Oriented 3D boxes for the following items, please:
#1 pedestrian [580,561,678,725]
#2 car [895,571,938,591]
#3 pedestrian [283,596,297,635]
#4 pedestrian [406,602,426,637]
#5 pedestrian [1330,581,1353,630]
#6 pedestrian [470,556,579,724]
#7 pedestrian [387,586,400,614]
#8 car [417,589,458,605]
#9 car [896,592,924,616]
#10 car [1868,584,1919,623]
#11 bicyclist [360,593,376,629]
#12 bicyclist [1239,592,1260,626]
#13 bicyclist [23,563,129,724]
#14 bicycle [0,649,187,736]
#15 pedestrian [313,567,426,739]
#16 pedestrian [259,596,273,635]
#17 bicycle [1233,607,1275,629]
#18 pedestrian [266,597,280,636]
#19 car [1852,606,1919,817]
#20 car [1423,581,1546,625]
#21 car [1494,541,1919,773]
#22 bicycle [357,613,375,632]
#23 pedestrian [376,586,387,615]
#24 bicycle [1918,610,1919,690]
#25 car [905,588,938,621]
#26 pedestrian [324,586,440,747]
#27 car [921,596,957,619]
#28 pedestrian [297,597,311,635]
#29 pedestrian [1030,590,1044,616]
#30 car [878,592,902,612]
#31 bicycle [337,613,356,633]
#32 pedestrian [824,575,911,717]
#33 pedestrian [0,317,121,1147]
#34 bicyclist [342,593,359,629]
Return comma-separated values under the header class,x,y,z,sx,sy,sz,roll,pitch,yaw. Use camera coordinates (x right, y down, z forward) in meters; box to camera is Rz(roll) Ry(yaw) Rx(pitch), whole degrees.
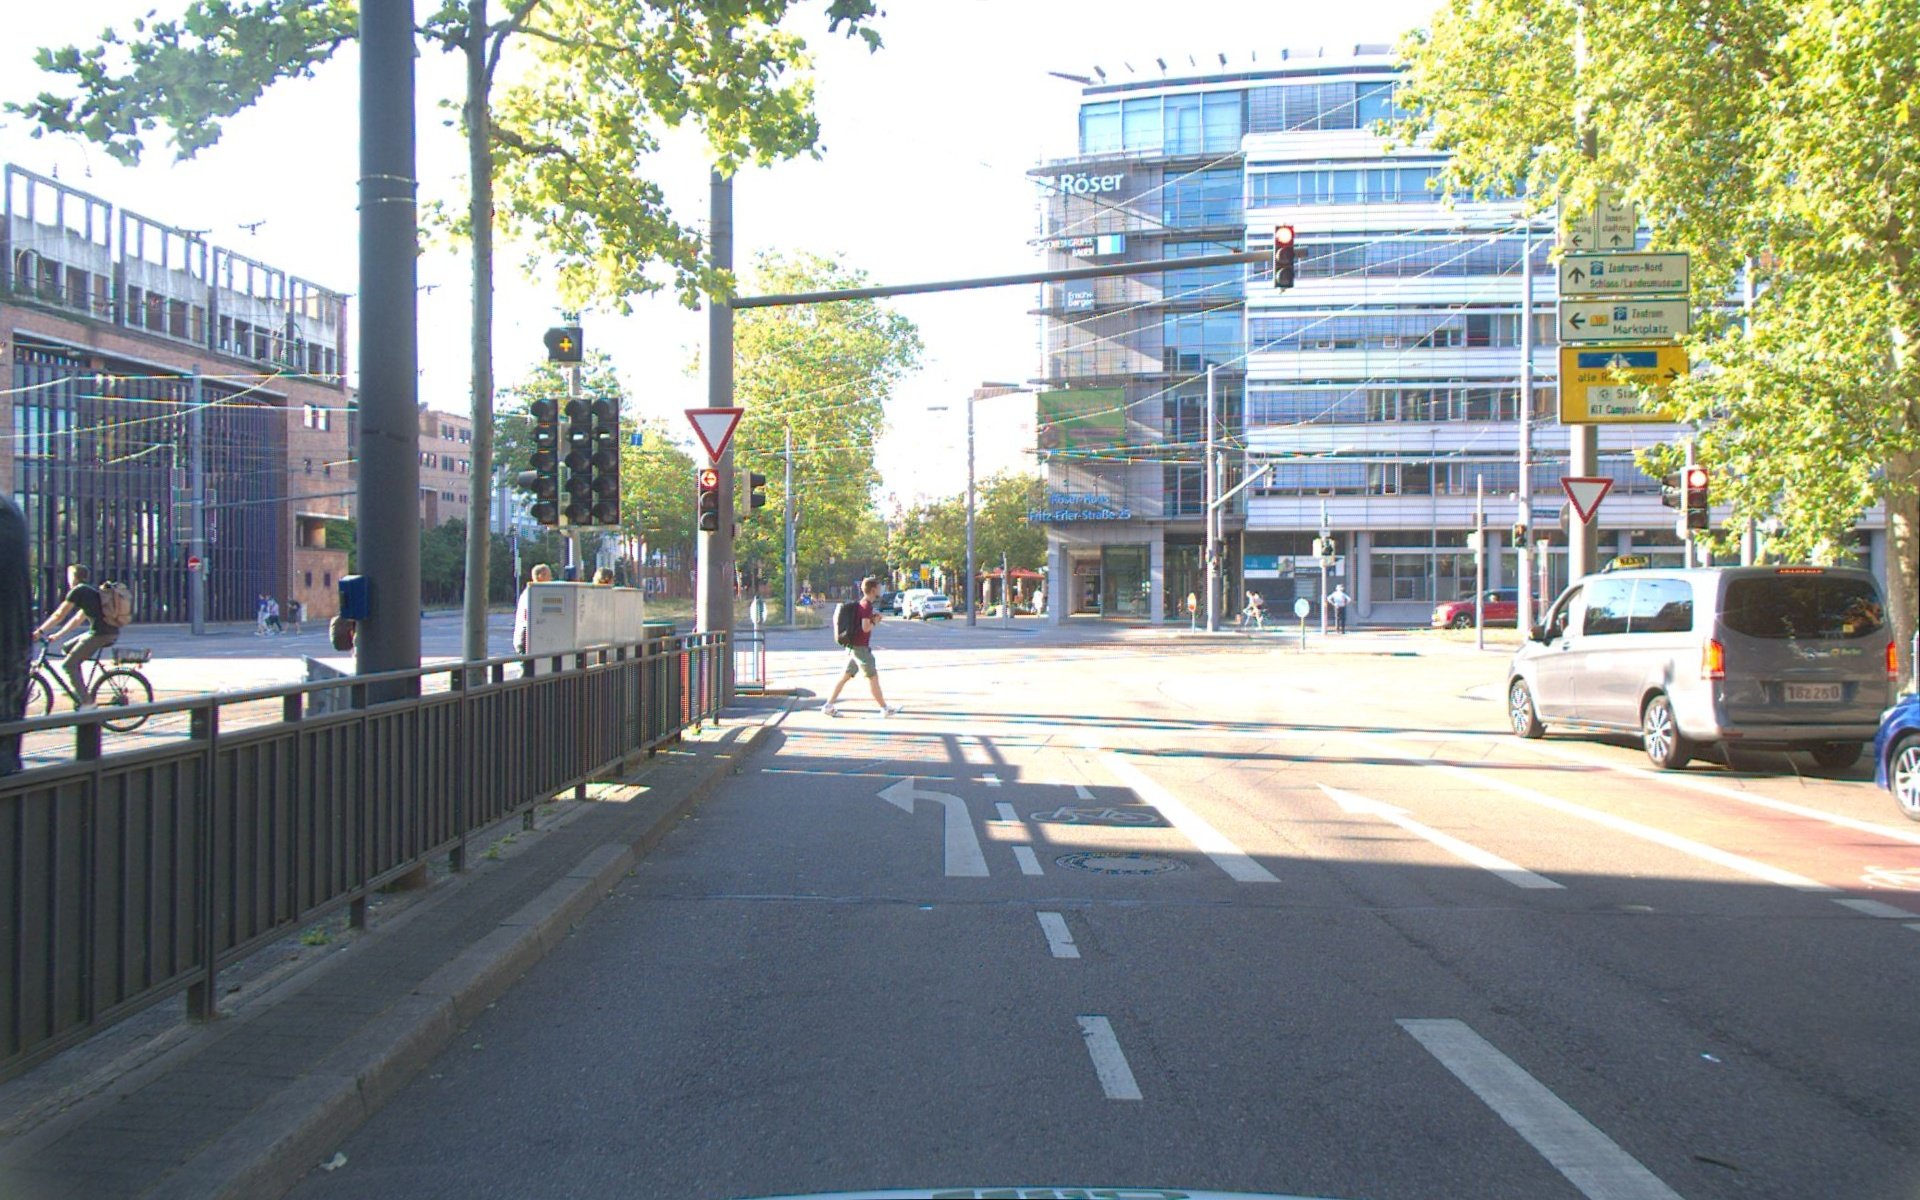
class,x,y,z,sx,sy,sz,roll,pitch,yaw
pedestrian,-3.783,0.490,18.982,1.052,1.837,0.756,1,-1,-10
car,-4.067,-1.775,155.038,3.681,1.780,1.783,1,-1,12
pedestrian,-29.145,0.673,71.900,0.529,1.679,0.621,-1,0,-21
pedestrian,-24.903,0.893,75.718,0.741,1.557,0.507,1,0,-10
pedestrian,13.436,0.201,58.244,0.704,1.711,0.557,1,0,5
pedestrian,-5.089,0.465,19.386,1.124,1.927,0.831,1,-1,-10
pedestrian,-36.411,0.004,106.330,0.628,1.842,0.546,-1,0,4
car,-56.375,-0.334,178.454,3.951,1.579,1.588,2,-1,-34
car,-3.650,0.295,119.968,1.954,1.691,3.998,-1,0,-3
car,36.678,0.112,62.113,4.151,1.417,1.797,-1,0,5
bicyclist,-28.455,0.542,79.539,0.582,1.705,0.788,-1,0,-9
bicyclist,12.014,0.355,68.590,0.802,1.390,0.400,-1,0,3
bicyclist,-10.254,0.495,19.209,0.833,1.816,0.752,-1,0,-5
bicycle,-10.222,1.064,19.210,2.134,0.950,0.667,0,0,-5
pedestrian,-6.700,0.597,18.812,1.053,1.904,0.737,1,-1,-10
pedestrian,-29.841,0.658,71.127,0.529,1.679,0.621,-1,0,-21
bicycle,12.190,0.749,68.581,1.705,0.915,0.409,-1,0,3
pedestrian,-30.298,0.717,72.941,0.529,1.679,0.621,-1,0,-21
car,7.737,0.787,10.457,1.730,1.490,4.214,-1,0,-3
car,20.025,0.105,63.210,4.152,1.630,1.796,-1,0,2
car,7.418,0.494,17.060,1.953,2.000,5.135,1,0,-2
bicycle,-28.552,1.063,79.475,0.503,0.897,1.835,-1,0,-10
pedestrian,-36.662,0.014,104.802,0.511,1.810,0.546,-1,0,4
bicycle,13.577,0.693,22.221,0.479,1.112,1.475,-1,0,-4
car,-2.439,0.260,104.548,1.954,2.026,3.998,-1,0,-3
pedestrian,-6.297,0.720,18.066,1.053,1.711,0.756,1,-1,-10
car,-1.264,0.425,97.884,1.954,1.355,3.998,-1,0,-3
pedestrian,-28.617,0.695,72.147,0.529,1.679,0.621,-1,0,-21
pedestrian,4.523,0.192,97.295,0.725,1.491,0.536,-1,0,-4
car,-6.007,0.168,141.475,1.954,1.691,3.998,-1,0,-3
bicycle,-29.337,1.092,79.133,0.503,0.897,1.835,-1,0,-10
pedestrian,-1.163,0.572,20.696,1.052,1.745,0.627,1,-1,-6
pedestrian,-2.482,0.311,3.977,0.499,1.933,0.759,1,-1,-1
bicyclist,-29.190,0.523,79.250,0.582,1.705,0.788,-1,0,-9
